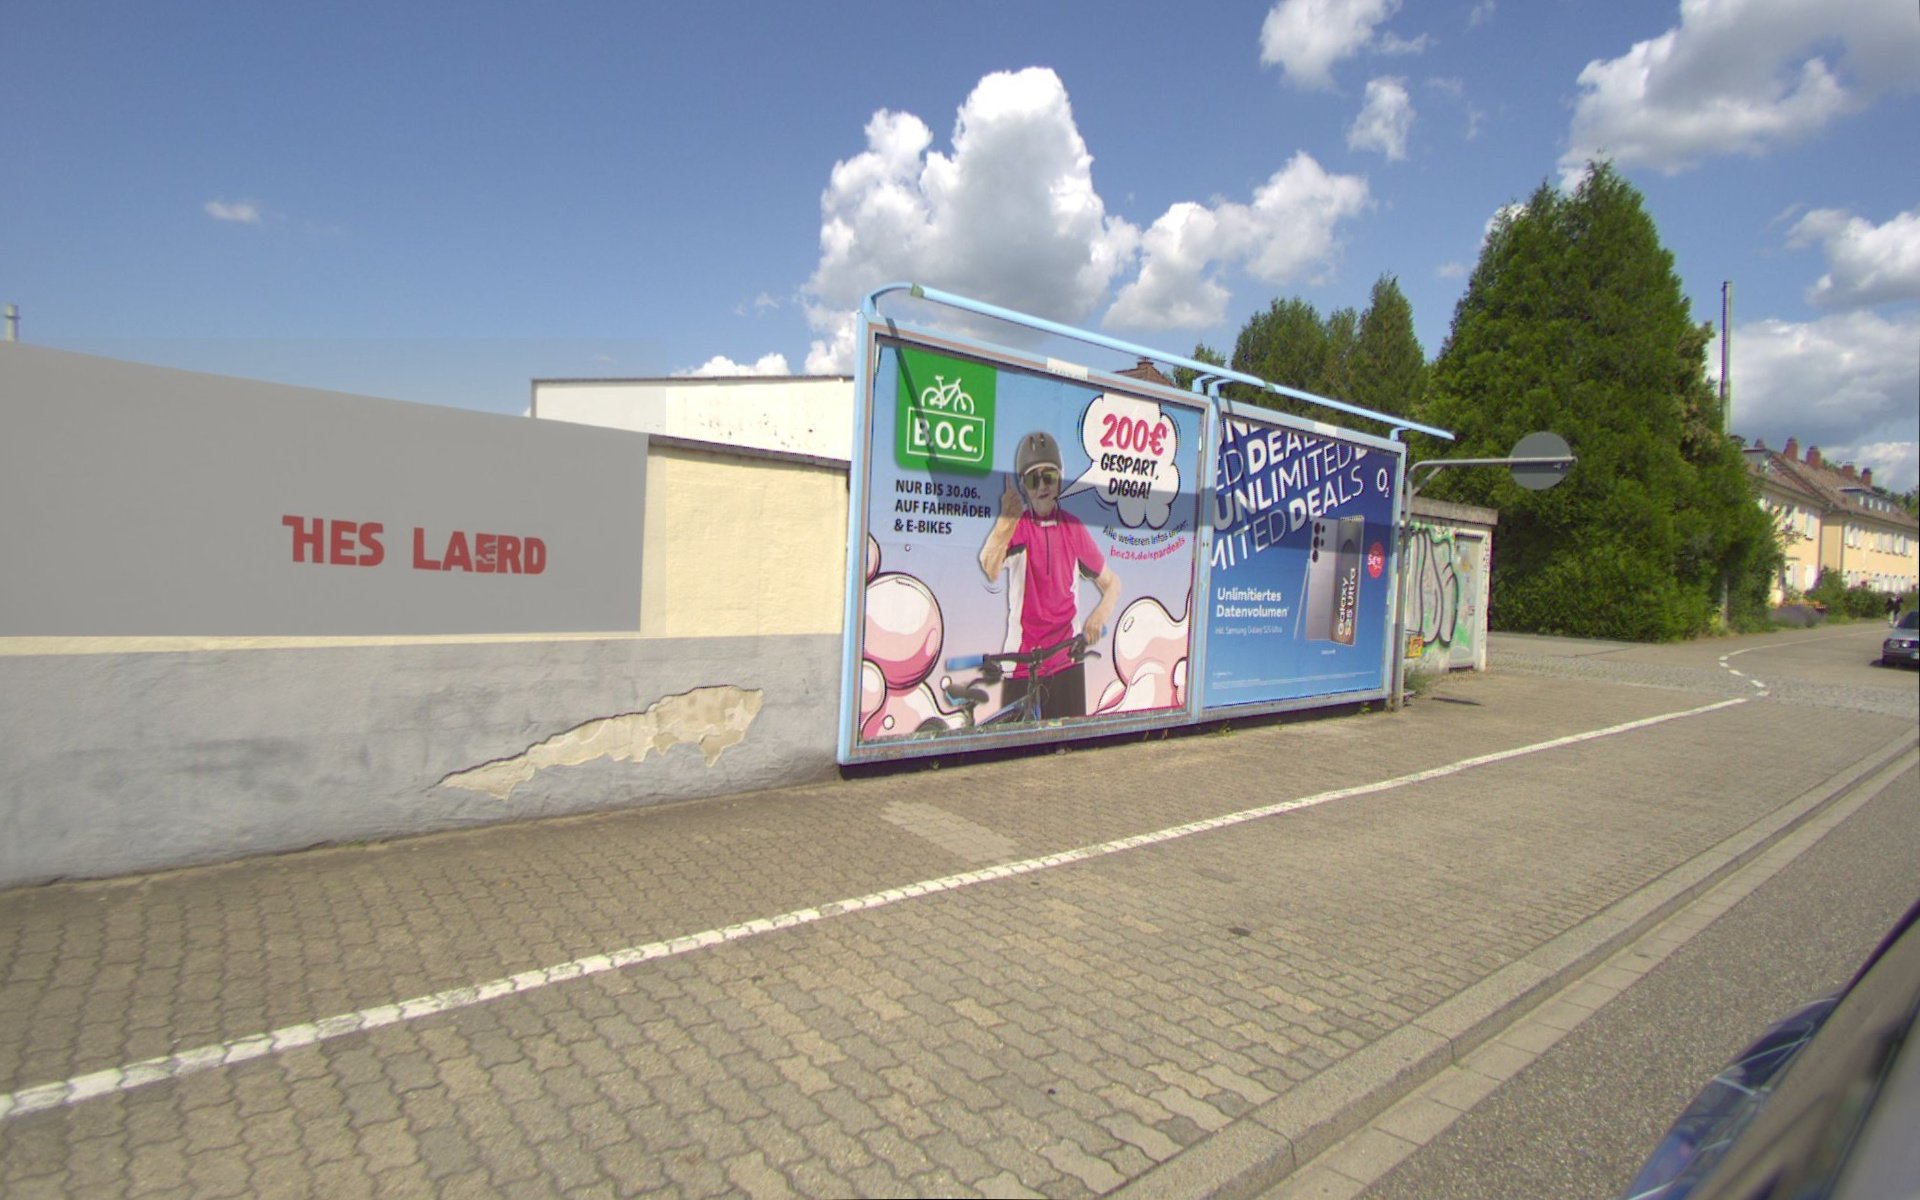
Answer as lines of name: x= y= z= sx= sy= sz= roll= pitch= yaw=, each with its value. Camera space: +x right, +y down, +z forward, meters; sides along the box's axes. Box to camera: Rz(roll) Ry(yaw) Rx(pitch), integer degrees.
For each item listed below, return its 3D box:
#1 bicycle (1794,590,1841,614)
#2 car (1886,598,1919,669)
bicycle: x=41.209 y=0.082 z=48.667 sx=0.285 sy=1.116 sz=1.693 roll=1 pitch=1 yaw=-40
car: x=22.179 y=0.746 z=22.588 sx=4.024 sy=1.448 sz=1.655 roll=-1 pitch=3 yaw=-40
